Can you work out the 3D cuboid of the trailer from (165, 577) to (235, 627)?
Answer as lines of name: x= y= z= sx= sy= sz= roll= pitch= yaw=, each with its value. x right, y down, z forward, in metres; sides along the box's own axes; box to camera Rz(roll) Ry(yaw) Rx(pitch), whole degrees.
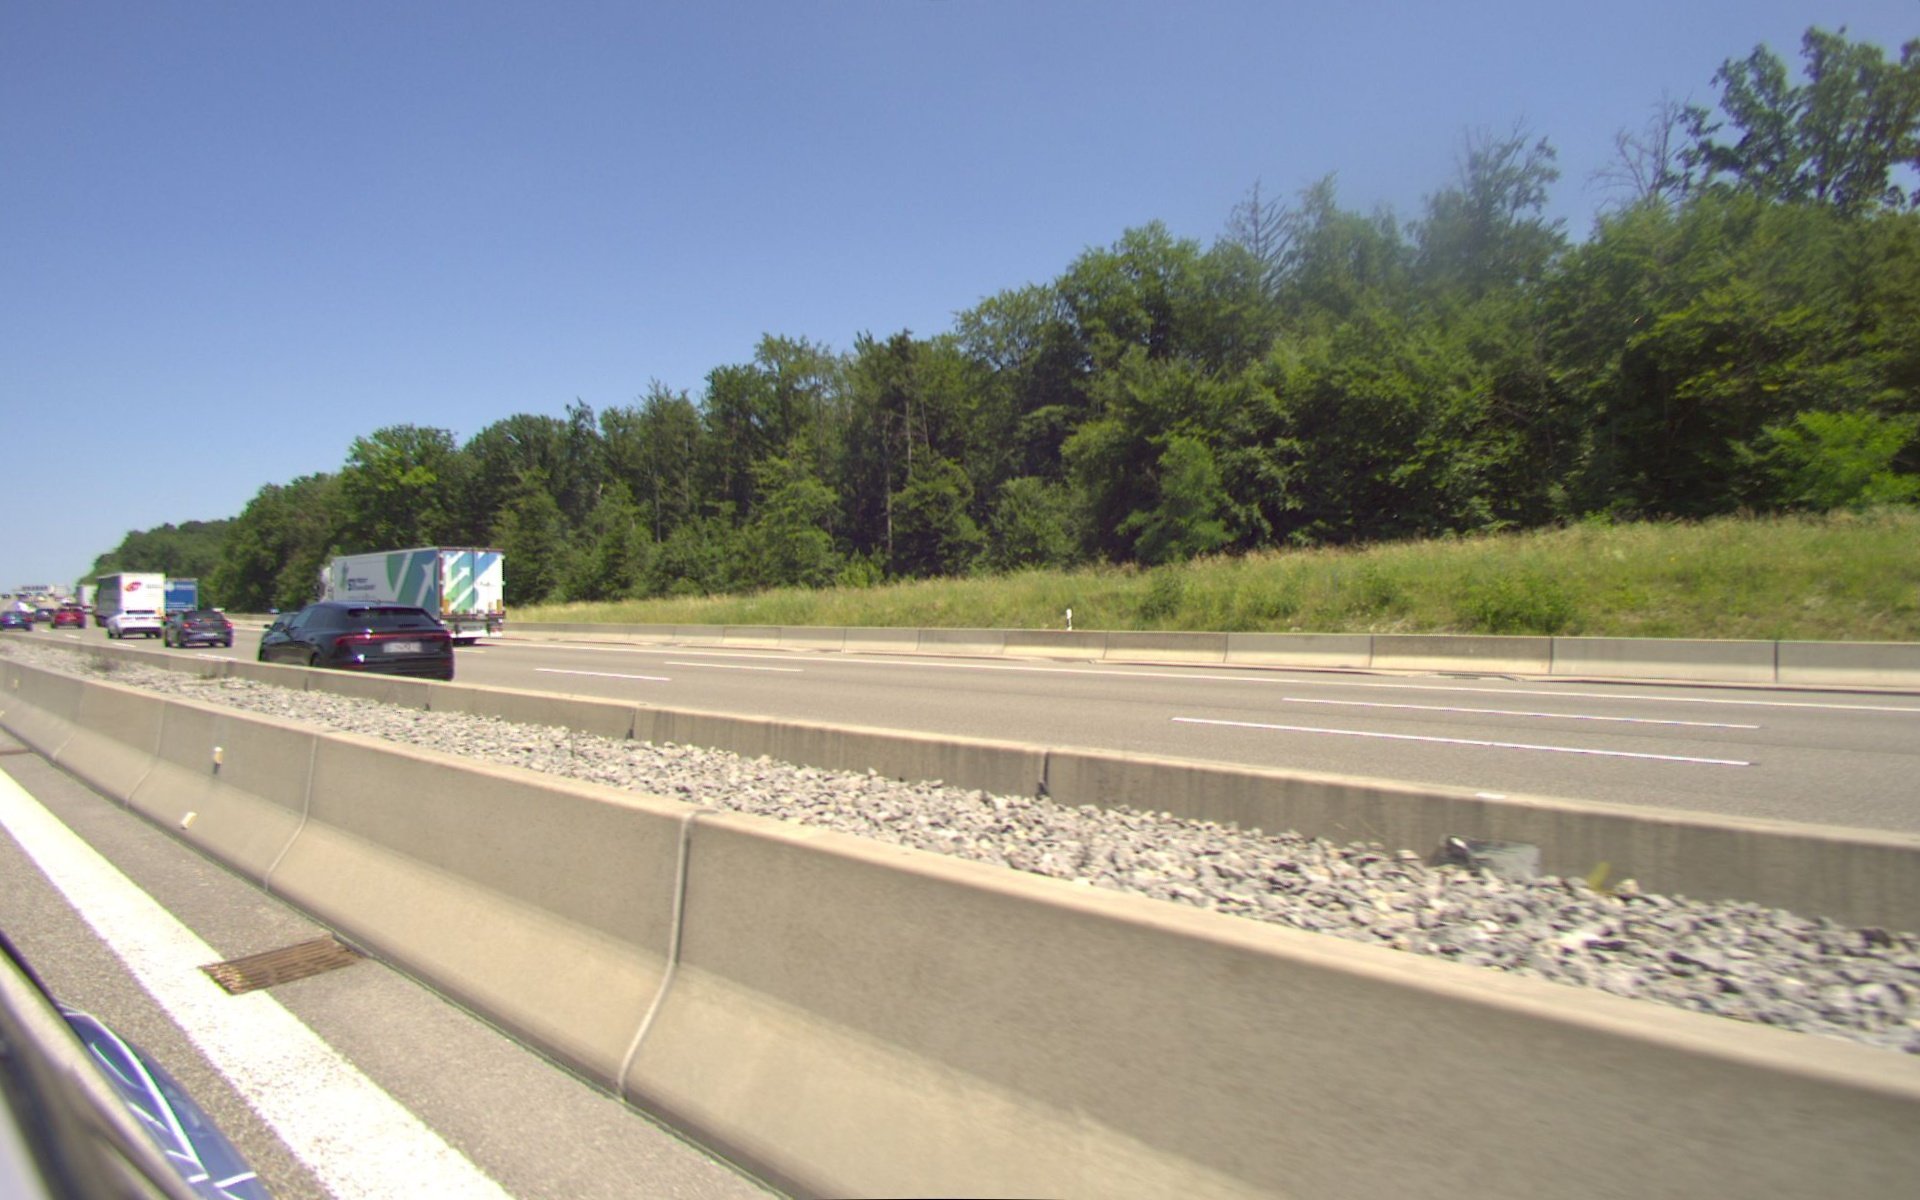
trailer: x=-62.653 y=0.166 z=83.350 sx=10.763 sy=3.953 sz=2.694 roll=0 pitch=0 yaw=43

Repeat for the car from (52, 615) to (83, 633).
car: x=-100.844 y=2.674 z=114.324 sx=5.024 sy=1.980 sz=2.054 roll=0 pitch=0 yaw=43

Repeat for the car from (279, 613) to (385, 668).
car: x=-18.751 y=1.148 z=30.133 sx=4.002 sy=1.527 sz=1.793 roll=-1 pitch=-1 yaw=45

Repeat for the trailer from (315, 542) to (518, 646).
trailer: x=-25.001 y=-0.125 z=45.843 sx=15.283 sy=4.068 sz=3.195 roll=-1 pitch=-1 yaw=42

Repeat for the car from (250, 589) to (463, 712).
car: x=-10.612 y=0.795 z=17.617 sx=4.983 sy=1.843 sz=1.808 roll=-1 pitch=-1 yaw=42

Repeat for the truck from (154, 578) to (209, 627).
truck: x=-67.718 y=0.256 z=87.994 sx=6.937 sy=4.044 sz=2.692 roll=-1 pitch=-1 yaw=43

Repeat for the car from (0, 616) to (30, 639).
car: x=-65.134 y=1.854 z=69.415 sx=4.828 sy=1.530 sz=1.730 roll=-1 pitch=-1 yaw=45

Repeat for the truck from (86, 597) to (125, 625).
truck: x=-105.460 y=1.359 z=124.783 sx=10.100 sy=3.330 sz=2.727 roll=-1 pitch=-1 yaw=44

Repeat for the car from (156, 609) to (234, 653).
car: x=-31.521 y=1.219 z=41.683 sx=4.000 sy=1.696 sz=1.897 roll=0 pitch=0 yaw=43

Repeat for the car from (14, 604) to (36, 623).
car: x=-109.390 y=1.573 z=118.348 sx=1.835 sy=2.209 sz=4.069 roll=-1 pitch=0 yaw=-44

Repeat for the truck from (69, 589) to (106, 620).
truck: x=-123.621 y=0.681 z=143.320 sx=9.347 sy=4.241 sz=2.910 roll=0 pitch=0 yaw=43

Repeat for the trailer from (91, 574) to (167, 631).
trailer: x=-64.304 y=0.190 z=78.177 sx=12.153 sy=4.131 sz=2.905 roll=0 pitch=0 yaw=43

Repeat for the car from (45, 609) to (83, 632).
car: x=-68.569 y=1.569 z=77.430 sx=4.545 sy=1.652 sz=1.778 roll=-1 pitch=-1 yaw=44

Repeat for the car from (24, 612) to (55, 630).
car: x=-86.946 y=1.971 z=95.608 sx=5.261 sy=1.564 sz=1.789 roll=0 pitch=0 yaw=44

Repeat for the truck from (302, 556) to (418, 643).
truck: x=-29.892 y=-0.032 z=50.325 sx=6.414 sy=4.033 sz=3.186 roll=0 pitch=0 yaw=42

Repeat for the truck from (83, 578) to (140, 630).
truck: x=-69.976 y=0.299 z=83.430 sx=5.616 sy=4.134 sz=2.893 roll=0 pitch=0 yaw=43

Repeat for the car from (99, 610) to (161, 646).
car: x=-44.321 y=1.443 z=53.994 sx=4.890 sy=1.816 sz=1.799 roll=0 pitch=-1 yaw=42
